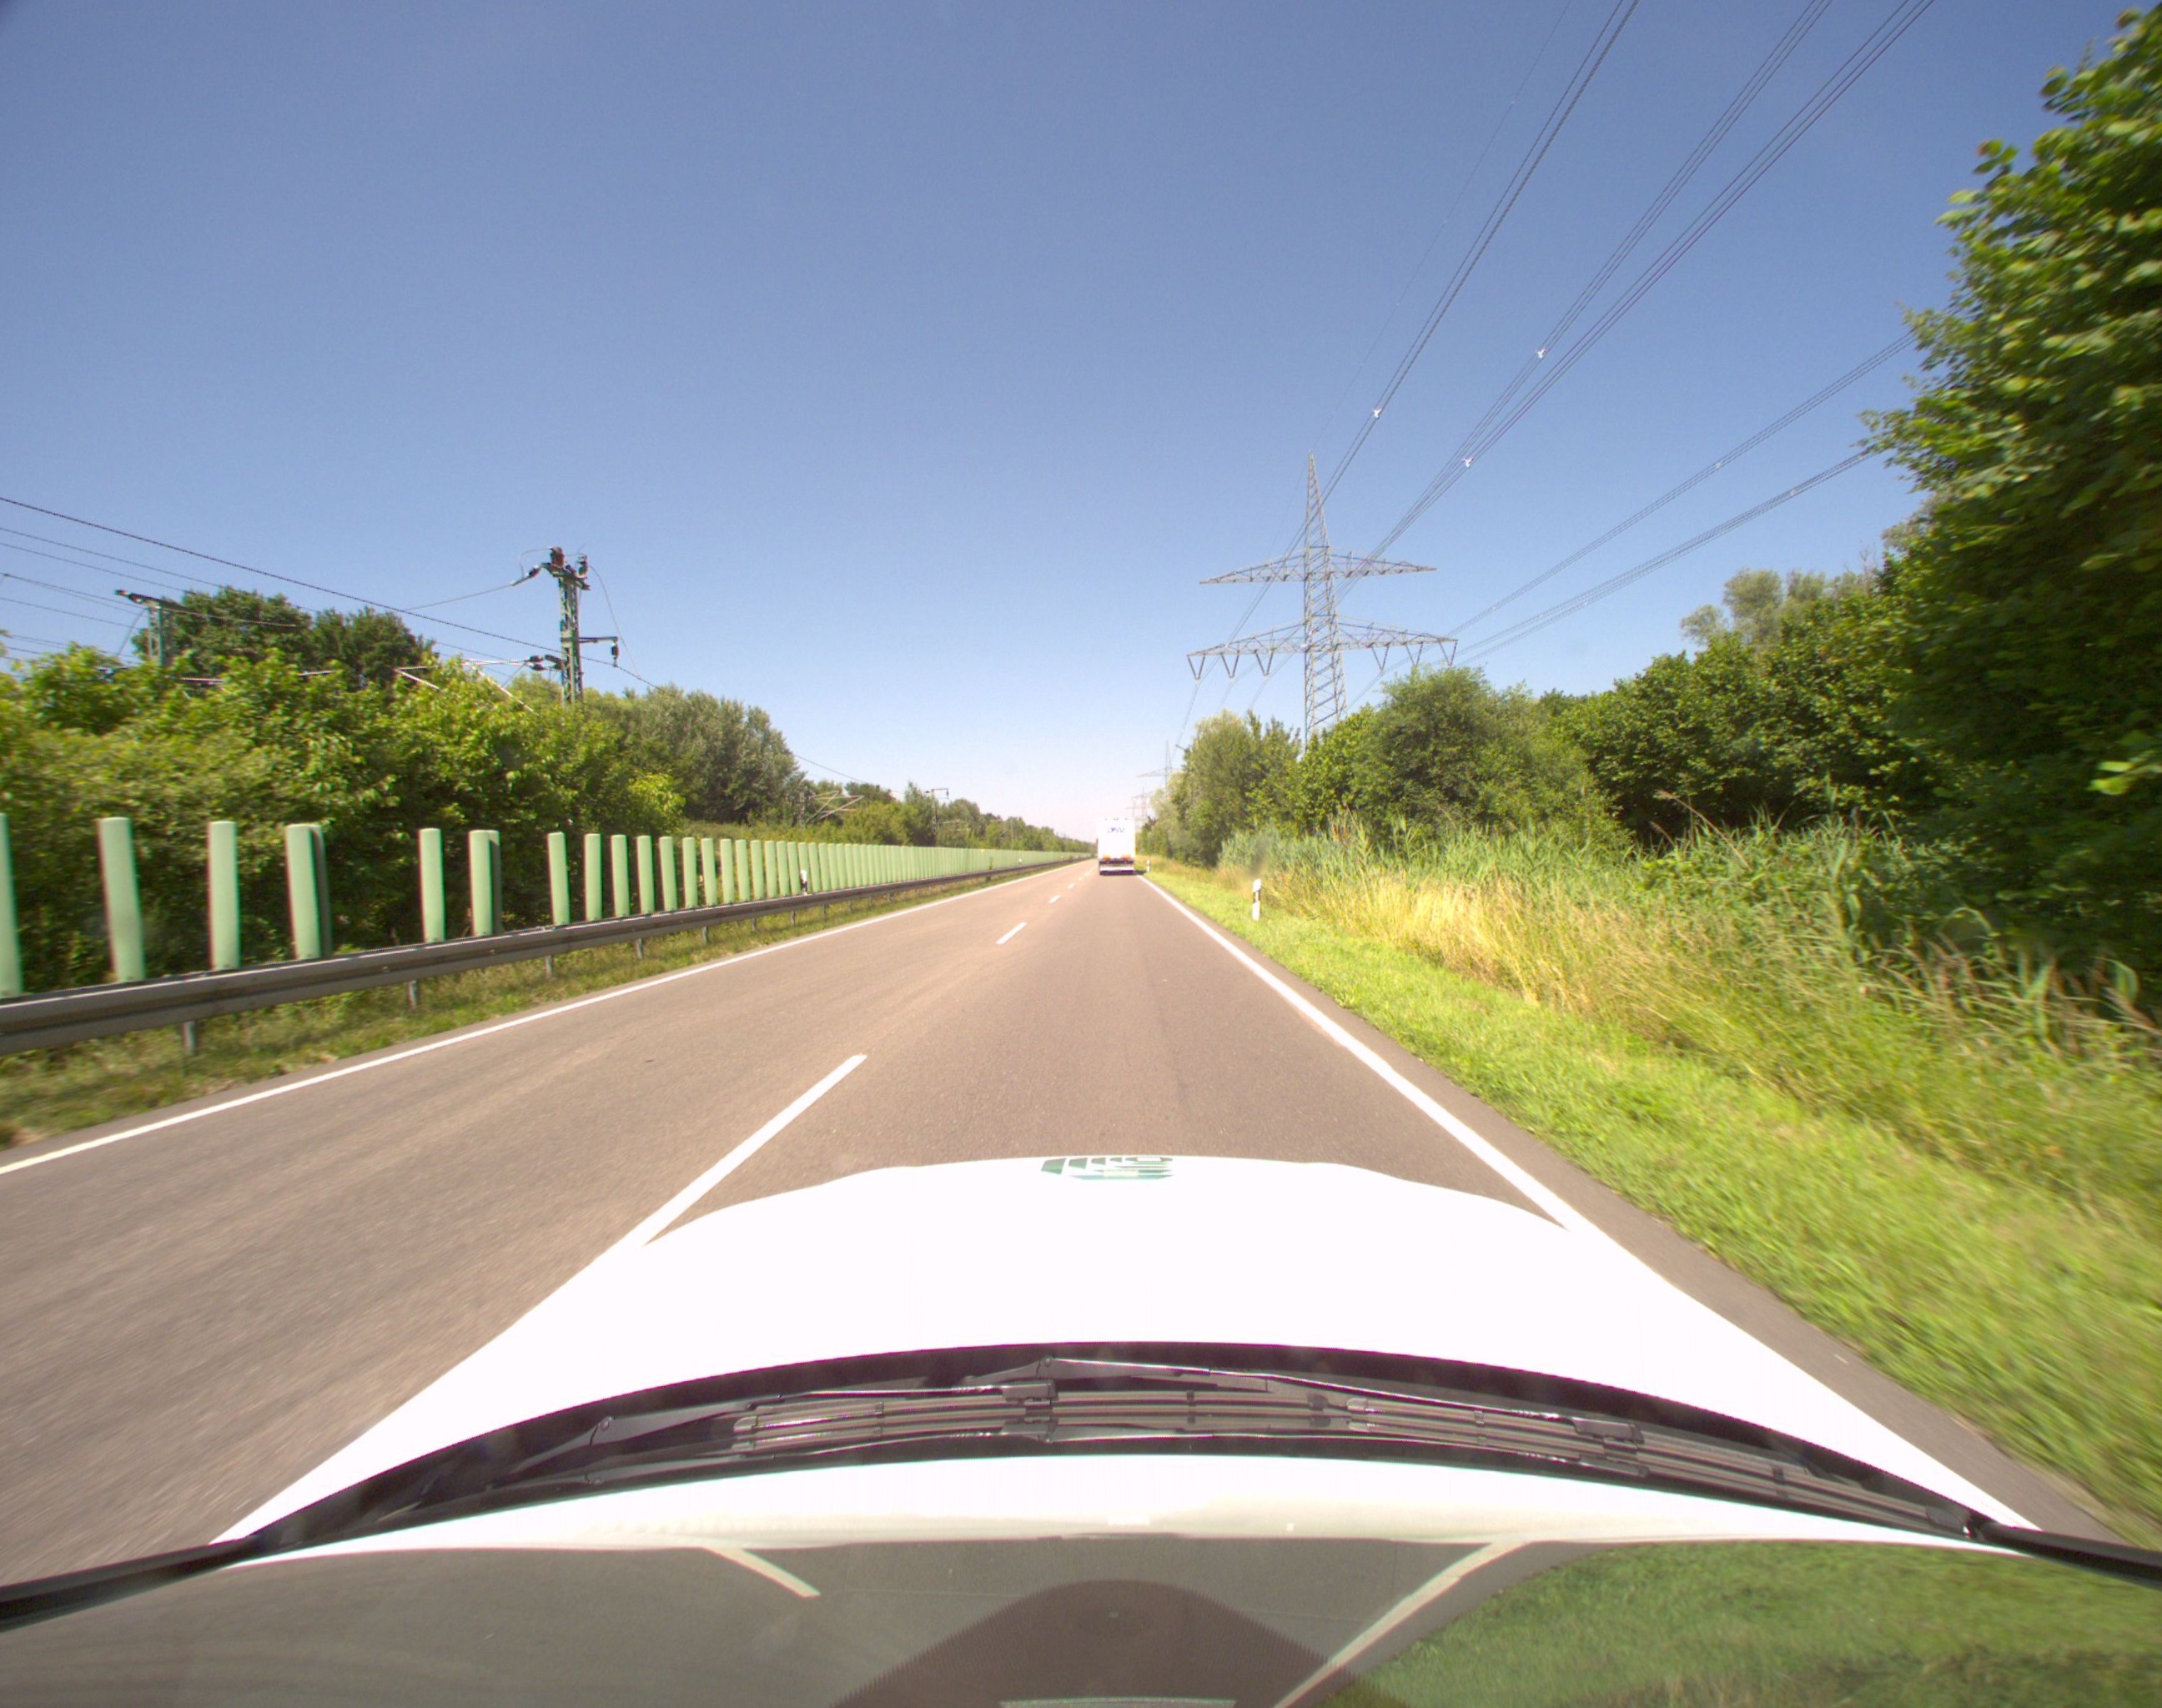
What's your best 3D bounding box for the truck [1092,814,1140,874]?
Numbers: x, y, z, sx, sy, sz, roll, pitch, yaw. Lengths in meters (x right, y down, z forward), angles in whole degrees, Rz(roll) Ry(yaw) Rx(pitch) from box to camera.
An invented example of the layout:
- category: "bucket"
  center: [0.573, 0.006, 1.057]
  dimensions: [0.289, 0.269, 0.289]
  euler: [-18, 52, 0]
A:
- category: "truck"
  center: [2.562, -0.687, 61.735]
  dimensions: [3.180, 4.042, 12.011]
  euler: [-2, 0, 2]
